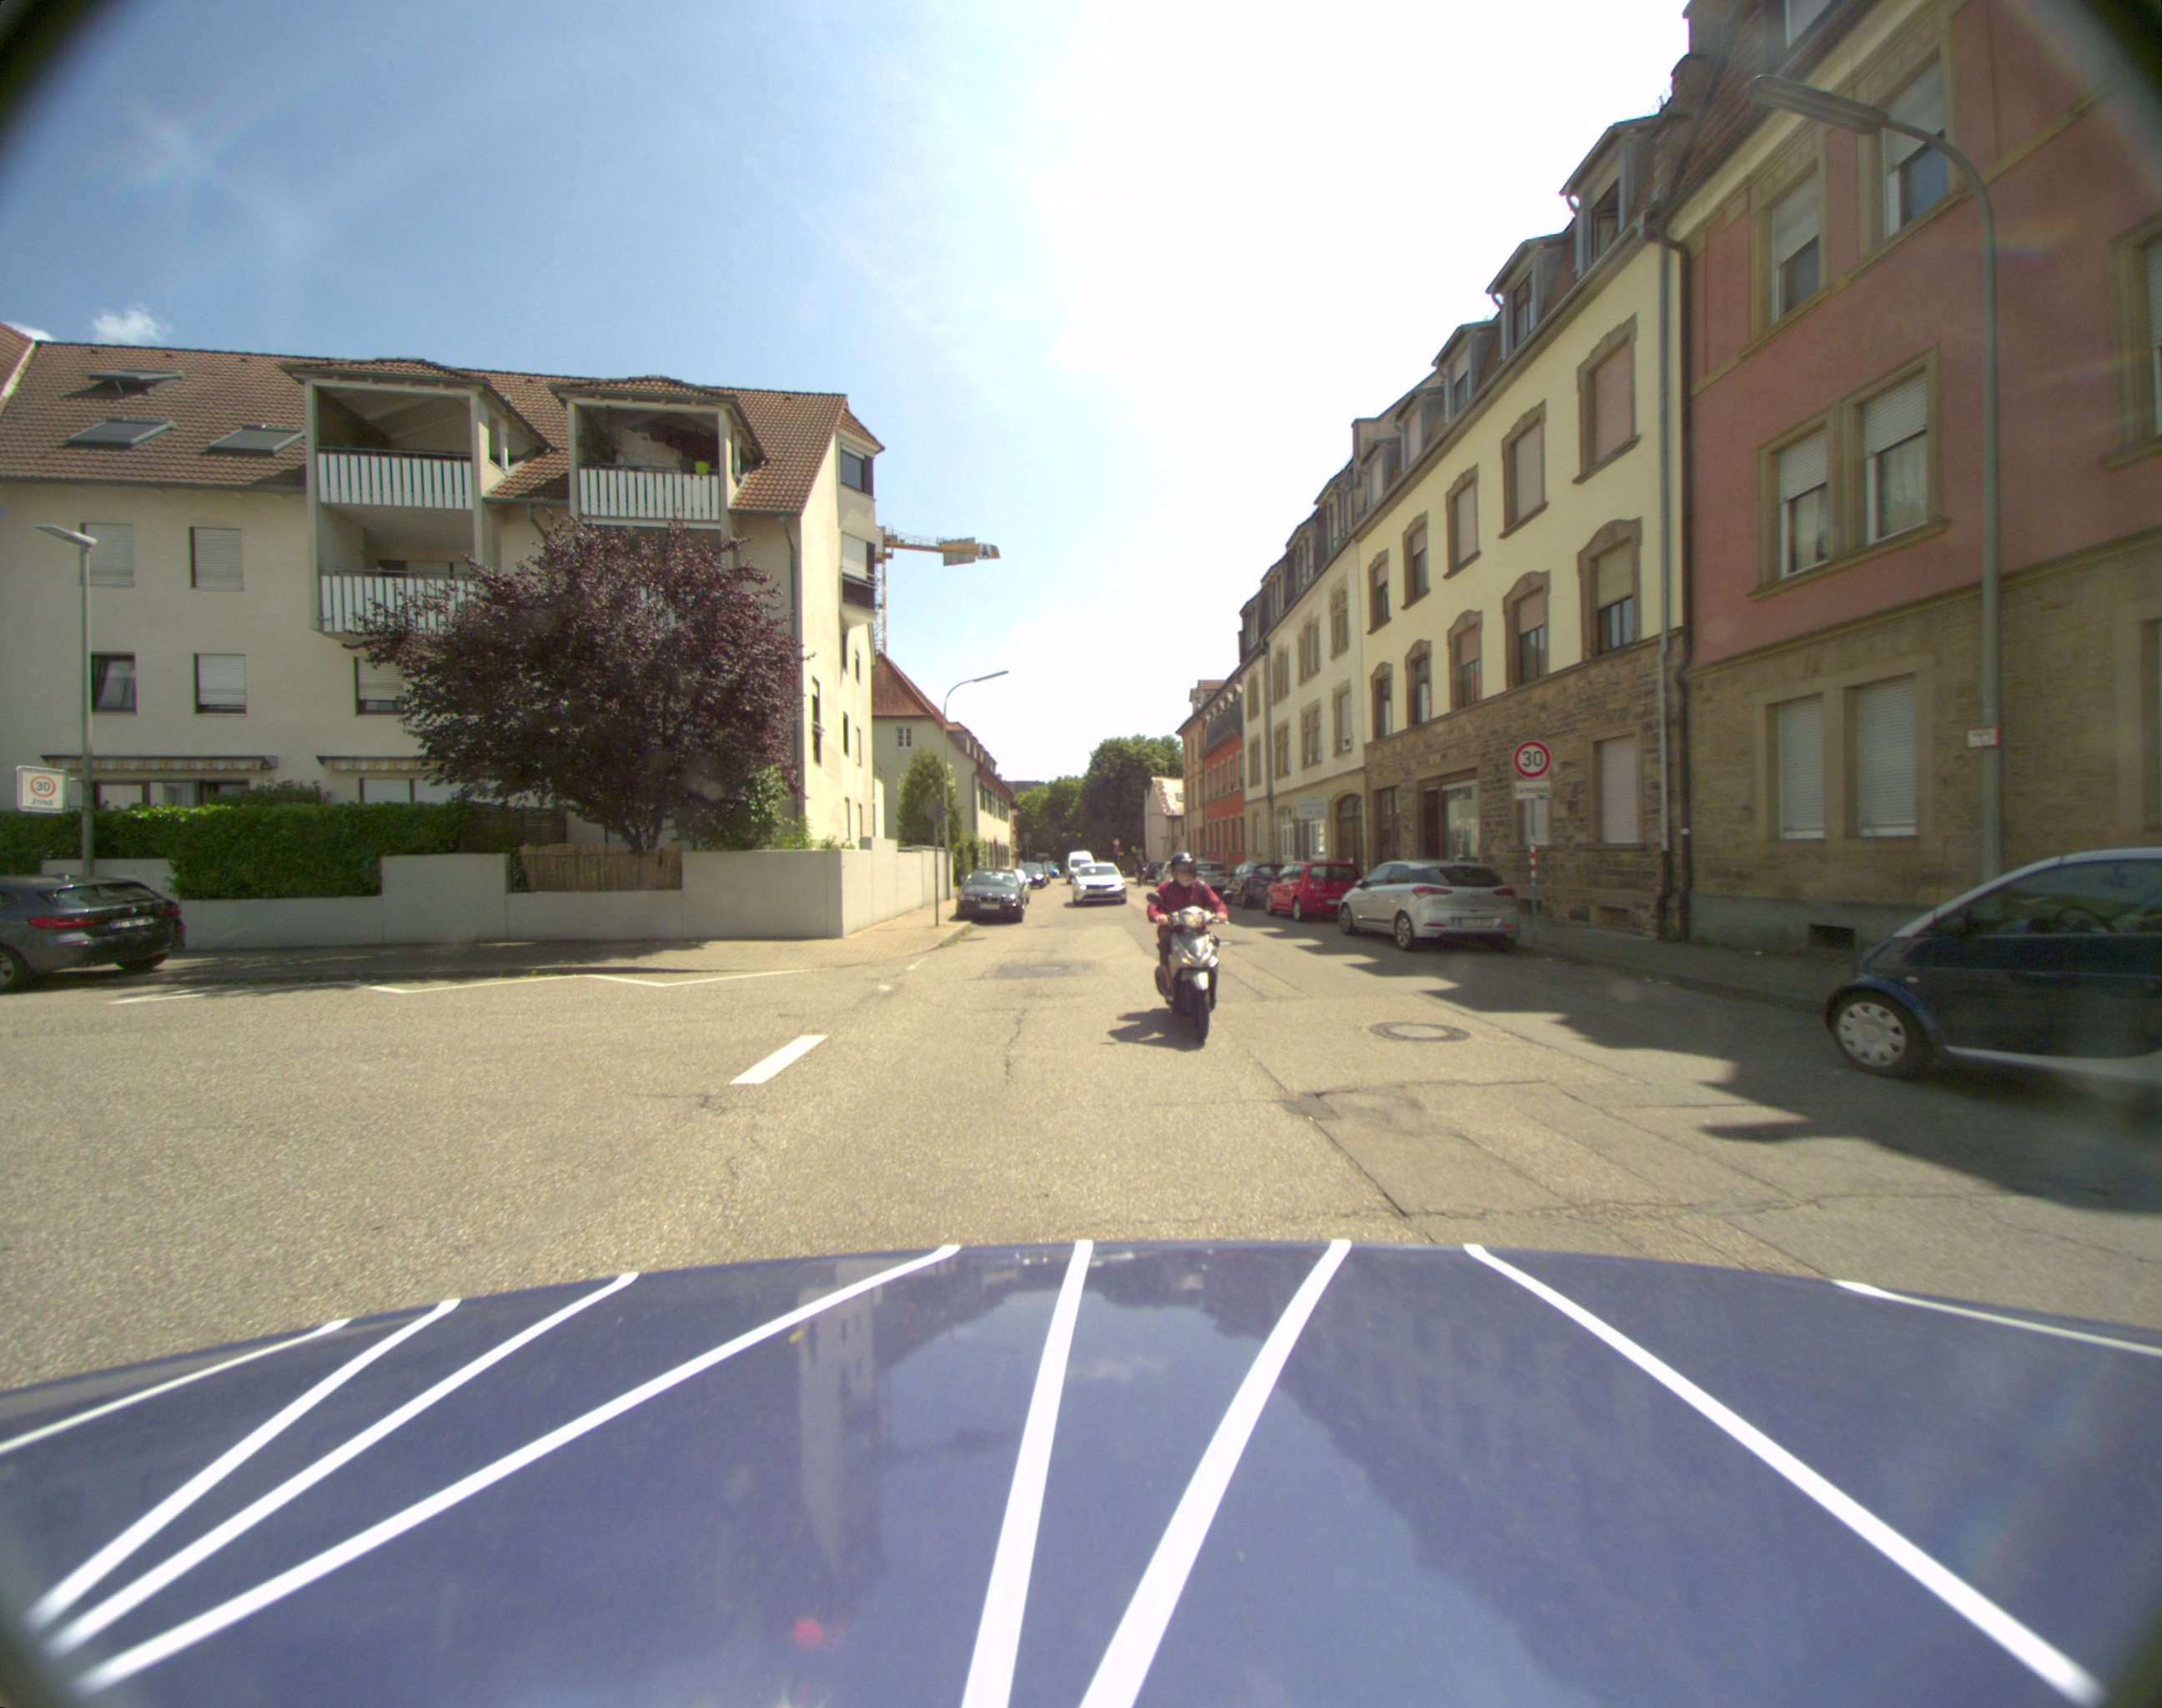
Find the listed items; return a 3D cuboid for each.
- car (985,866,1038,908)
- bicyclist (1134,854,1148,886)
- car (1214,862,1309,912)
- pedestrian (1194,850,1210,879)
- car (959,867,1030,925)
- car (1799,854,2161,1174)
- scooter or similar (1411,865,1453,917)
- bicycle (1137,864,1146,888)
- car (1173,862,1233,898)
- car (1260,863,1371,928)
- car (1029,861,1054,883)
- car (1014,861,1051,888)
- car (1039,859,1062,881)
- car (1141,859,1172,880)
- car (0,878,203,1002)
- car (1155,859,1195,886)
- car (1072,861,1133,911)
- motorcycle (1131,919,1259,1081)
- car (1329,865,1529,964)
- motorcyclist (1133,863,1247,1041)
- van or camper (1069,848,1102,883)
[{"bbox_3d":[-2.489,1.161,27.925,1.589,1.345,3.822,1,0,0],"label":"car"},{"bbox_3d":[3.332,0.881,42.328,0.643,1.752,1.167,1,0,-1],"label":"bicyclist"},{"bbox_3d":[5.707,0.993,24.517,1.877,1.430,4.217,-1,0,-3],"label":"car"},{"bbox_3d":[7.509,0.643,47.158,0.770,1.761,0.763,-3,0,-2],"label":"pedestrian"},{"bbox_3d":[-2.292,1.081,21.014,1.661,1.368,4.238,-1,0,-3],"label":"car"},{"bbox_3d":[5.900,0.770,4.118,1.440,1.514,2.695,-1,0,-2],"label":"car"},{"bbox_3d":[8.494,0.878,18.430,0.375,1.213,1.319,-1,0,-1],"label":"scooter or similar"},{"bbox_3d":[3.346,1.221,42.310,0.229,1.268,1.882,1,0,-2],"label":"bicycle"},{"bbox_3d":[5.431,1.125,34.354,1.883,1.501,4.381,-1,0,-1],"label":"car"},{"bbox_3d":[5.807,0.971,19.205,1.603,1.433,3.494,-1,0,-3],"label":"car"},{"bbox_3d":[-2.881,1.305,55.893,1.651,1.489,4.000,-1,0,0],"label":"car"},{"bbox_3d":[-2.913,1.201,46.247,1.851,1.506,4.000,-1,0,1],"label":"car"},{"bbox_3d":[-2.965,1.545,74.547,1.998,2.002,4.000,-3,0,0],"label":"car"},{"bbox_3d":[5.442,1.113,55.359,1.732,1.433,3.856,-1,0,-2],"label":"car"},{"bbox_3d":[-14.823,1.104,10.069,3.999,1.460,1.736,0,1,-7],"label":"car"},{"bbox_3d":[5.285,1.035,43.122,1.715,1.451,3.853,0,0,-2],"label":"car"},{"bbox_3d":[0.656,1.055,26.333,1.812,1.512,3.999,-2,0,-2],"label":"car"},{"bbox_3d":[0.939,1.200,6.809,0.760,1.049,1.991,-2,0,-2],"label":"motorcycle"},{"bbox_3d":[5.887,0.942,13.420,1.639,1.423,4.018,0,0,-1],"label":"car"},{"bbox_3d":[0.935,0.812,6.782,0.793,1.431,1.020,-2,0,-2],"label":"motorcyclist"},{"bbox_3d":[0.249,0.765,53.071,1.999,2.273,5.143,-1,0,-3],"label":"van or camper"}]
